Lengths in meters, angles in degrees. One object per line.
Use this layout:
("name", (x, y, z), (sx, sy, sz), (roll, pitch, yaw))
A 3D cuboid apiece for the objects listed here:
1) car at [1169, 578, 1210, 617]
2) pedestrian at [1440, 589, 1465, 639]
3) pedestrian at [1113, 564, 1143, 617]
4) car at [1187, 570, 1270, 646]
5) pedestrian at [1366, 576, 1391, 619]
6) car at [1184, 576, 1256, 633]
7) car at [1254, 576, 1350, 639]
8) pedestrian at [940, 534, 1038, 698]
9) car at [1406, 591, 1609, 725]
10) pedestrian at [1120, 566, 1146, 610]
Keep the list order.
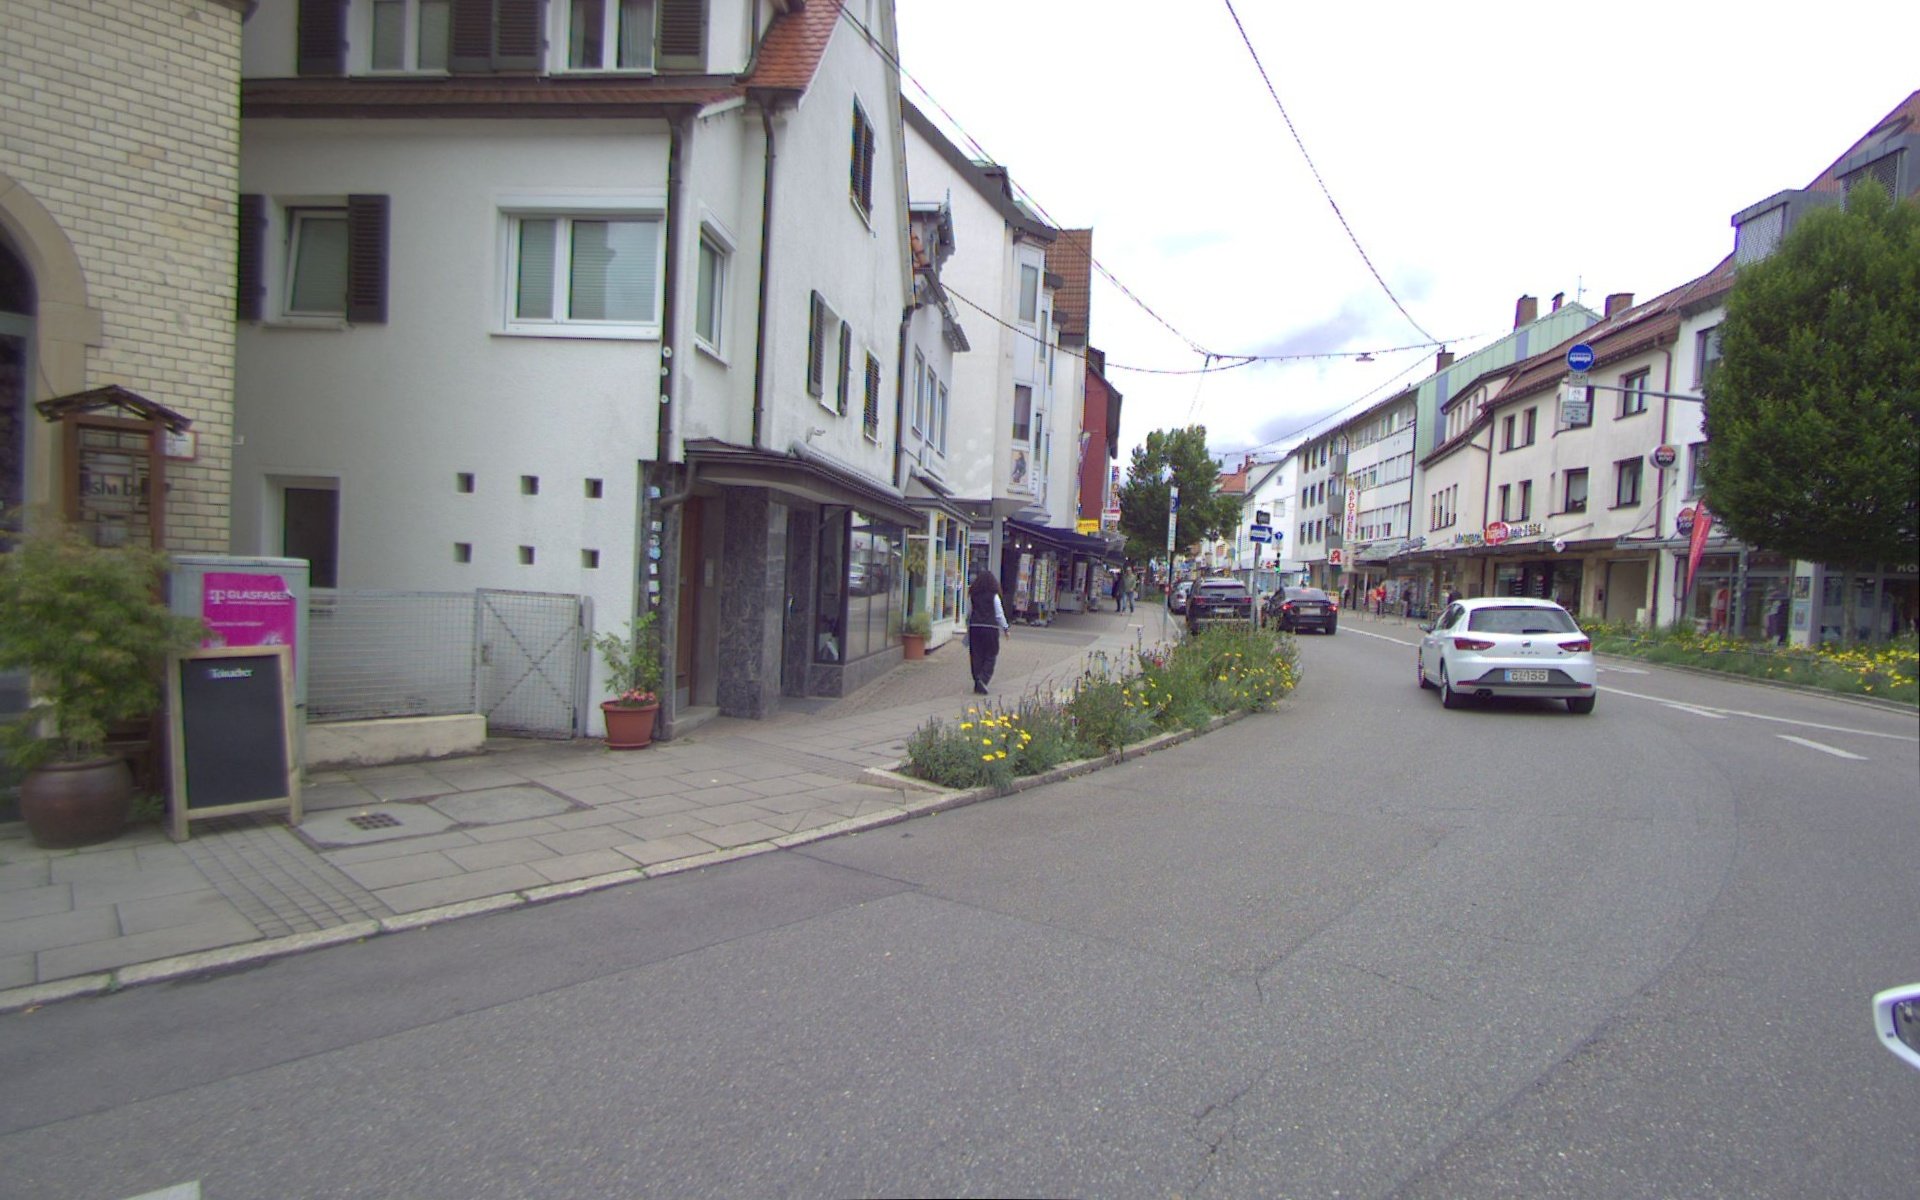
("car", (10.337, -0.145, 45.452), (1.544, 1.644, 4.002), (2, 1, 9))
("pedestrian", (20.450, 0.573, 41.693), (0.656, 2.041, 0.635), (2, 2, 5))
("pedestrian", (6.609, -0.383, 39.439), (1.083, 2.041, 1.014), (2, 2, 11))
("car", (7.385, 0.174, 27.965), (1.959, 1.879, 4.002), (2, 1, 12))
("pedestrian", (20.516, -0.134, 49.245), (1.010, 2.041, 0.895), (3, 2, 25))
("car", (8.745, 0.098, 34.081), (1.959, 1.755, 4.429), (2, 1, 10))
("car", (10.734, 0.175, 31.865), (2.000, 1.698, 4.375), (2, 3, 8))
("pedestrian", (0.403, 0.178, 13.223), (1.083, 2.041, 1.014), (2, 2, 11))
("car", (7.548, 0.680, 14.257), (1.813, 1.453, 3.999), (2, 3, 19))
("pedestrian", (8.197, -0.583, 47.615), (1.084, 2.041, 1.014), (2, 2, 7))
